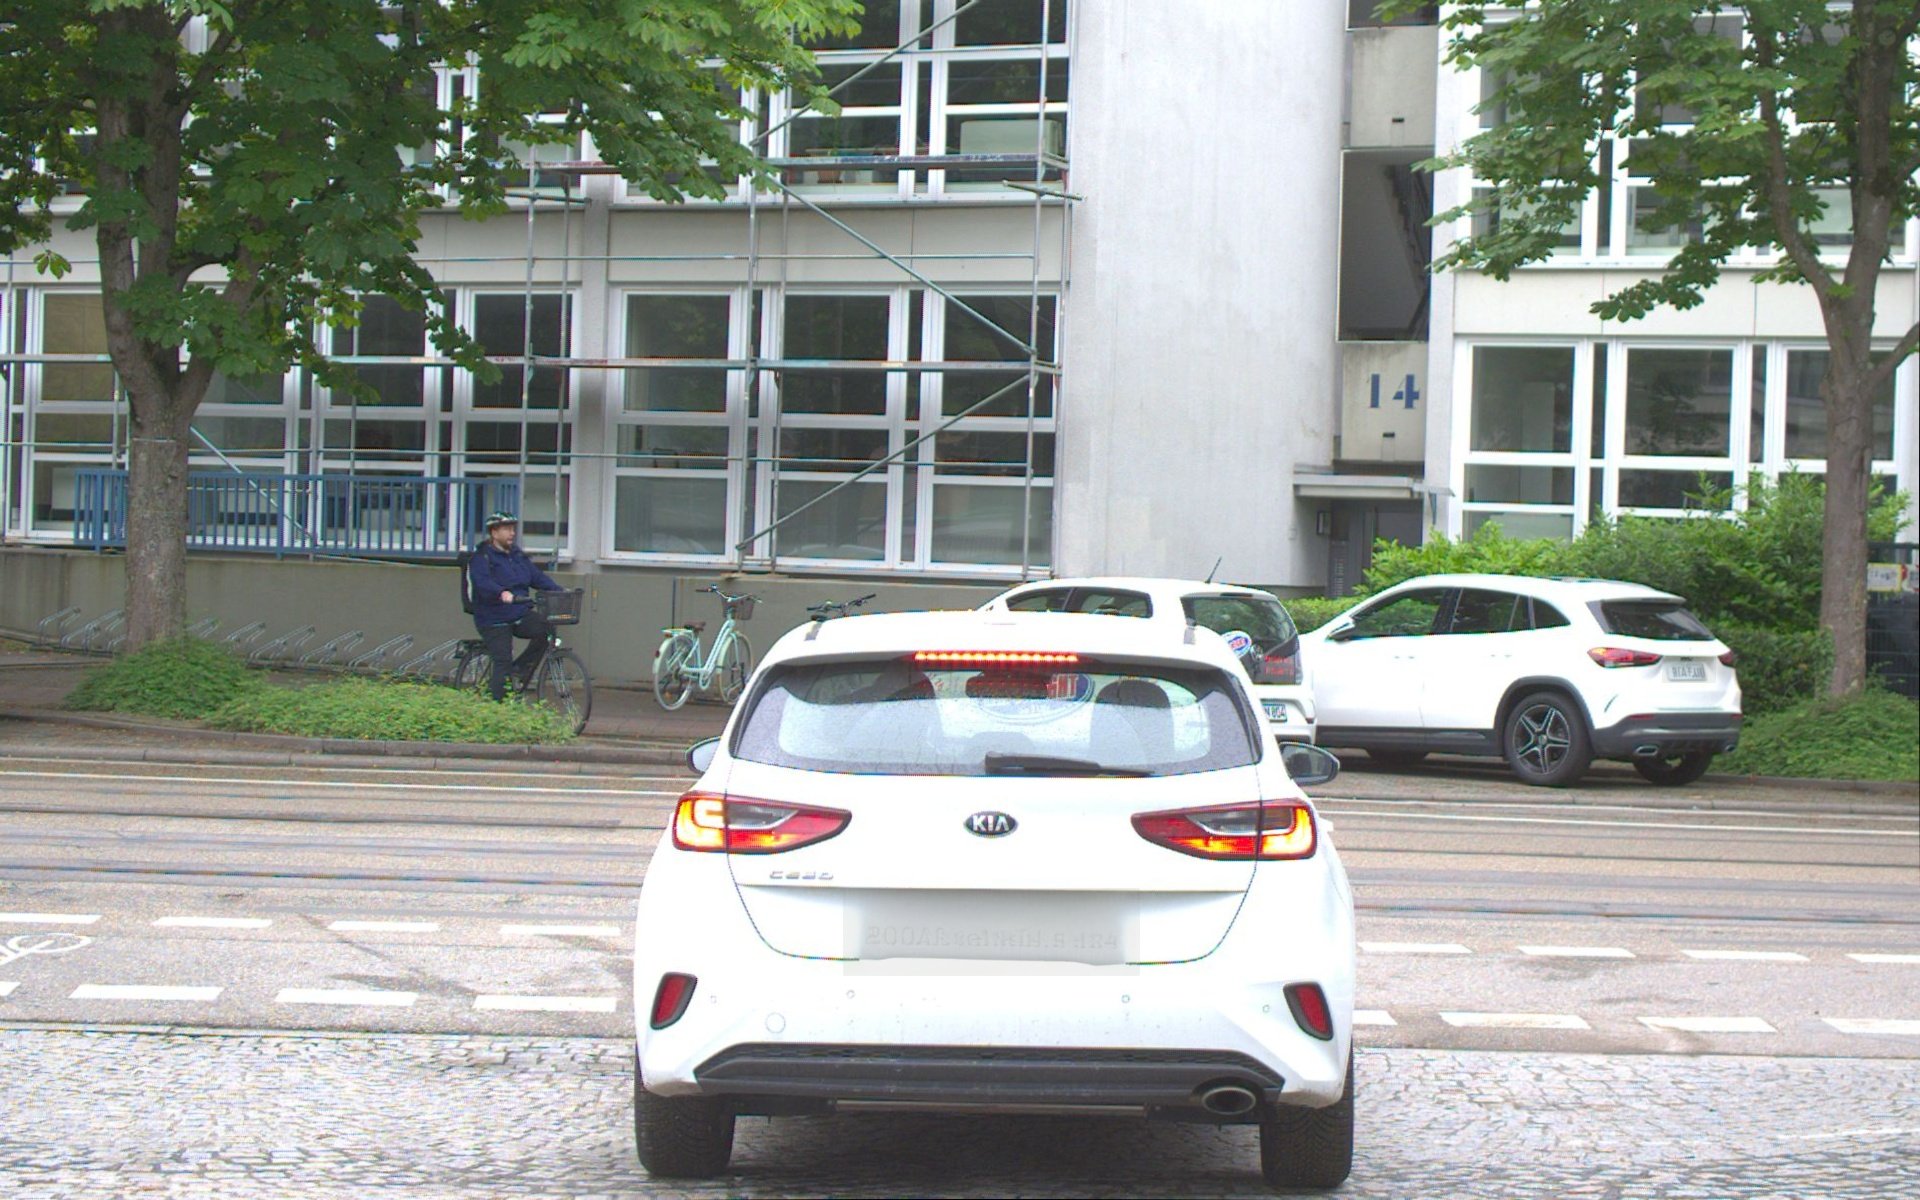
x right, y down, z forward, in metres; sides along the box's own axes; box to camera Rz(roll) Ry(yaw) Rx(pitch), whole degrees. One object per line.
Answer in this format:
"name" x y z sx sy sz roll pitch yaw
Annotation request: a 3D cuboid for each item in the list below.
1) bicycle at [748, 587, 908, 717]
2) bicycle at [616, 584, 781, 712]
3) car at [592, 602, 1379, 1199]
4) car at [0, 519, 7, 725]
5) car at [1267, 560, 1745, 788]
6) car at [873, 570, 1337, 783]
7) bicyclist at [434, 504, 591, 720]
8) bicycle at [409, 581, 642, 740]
"bicycle" -1.208 0.463 32.092 0.645 1.071 2.310 2 3 20
"bicycle" -2.458 0.431 32.589 0.645 1.071 2.310 2 3 20
"car" 0.151 0.789 9.851 1.775 1.428 3.978 1 -2 3
"car" -8.752 0.115 25.705 3.335 1.506 1.615 2 1 43
"car" 4.212 0.531 26.820 1.552 1.612 3.406 1 1 -44
"car" 1.065 0.546 26.358 1.552 1.468 3.406 1 1 -44
"bicyclist" -3.610 0.089 27.735 0.832 1.692 0.896 1 1 -45
"bicycle" -3.506 0.472 27.629 1.914 1.170 0.819 3 1 45
